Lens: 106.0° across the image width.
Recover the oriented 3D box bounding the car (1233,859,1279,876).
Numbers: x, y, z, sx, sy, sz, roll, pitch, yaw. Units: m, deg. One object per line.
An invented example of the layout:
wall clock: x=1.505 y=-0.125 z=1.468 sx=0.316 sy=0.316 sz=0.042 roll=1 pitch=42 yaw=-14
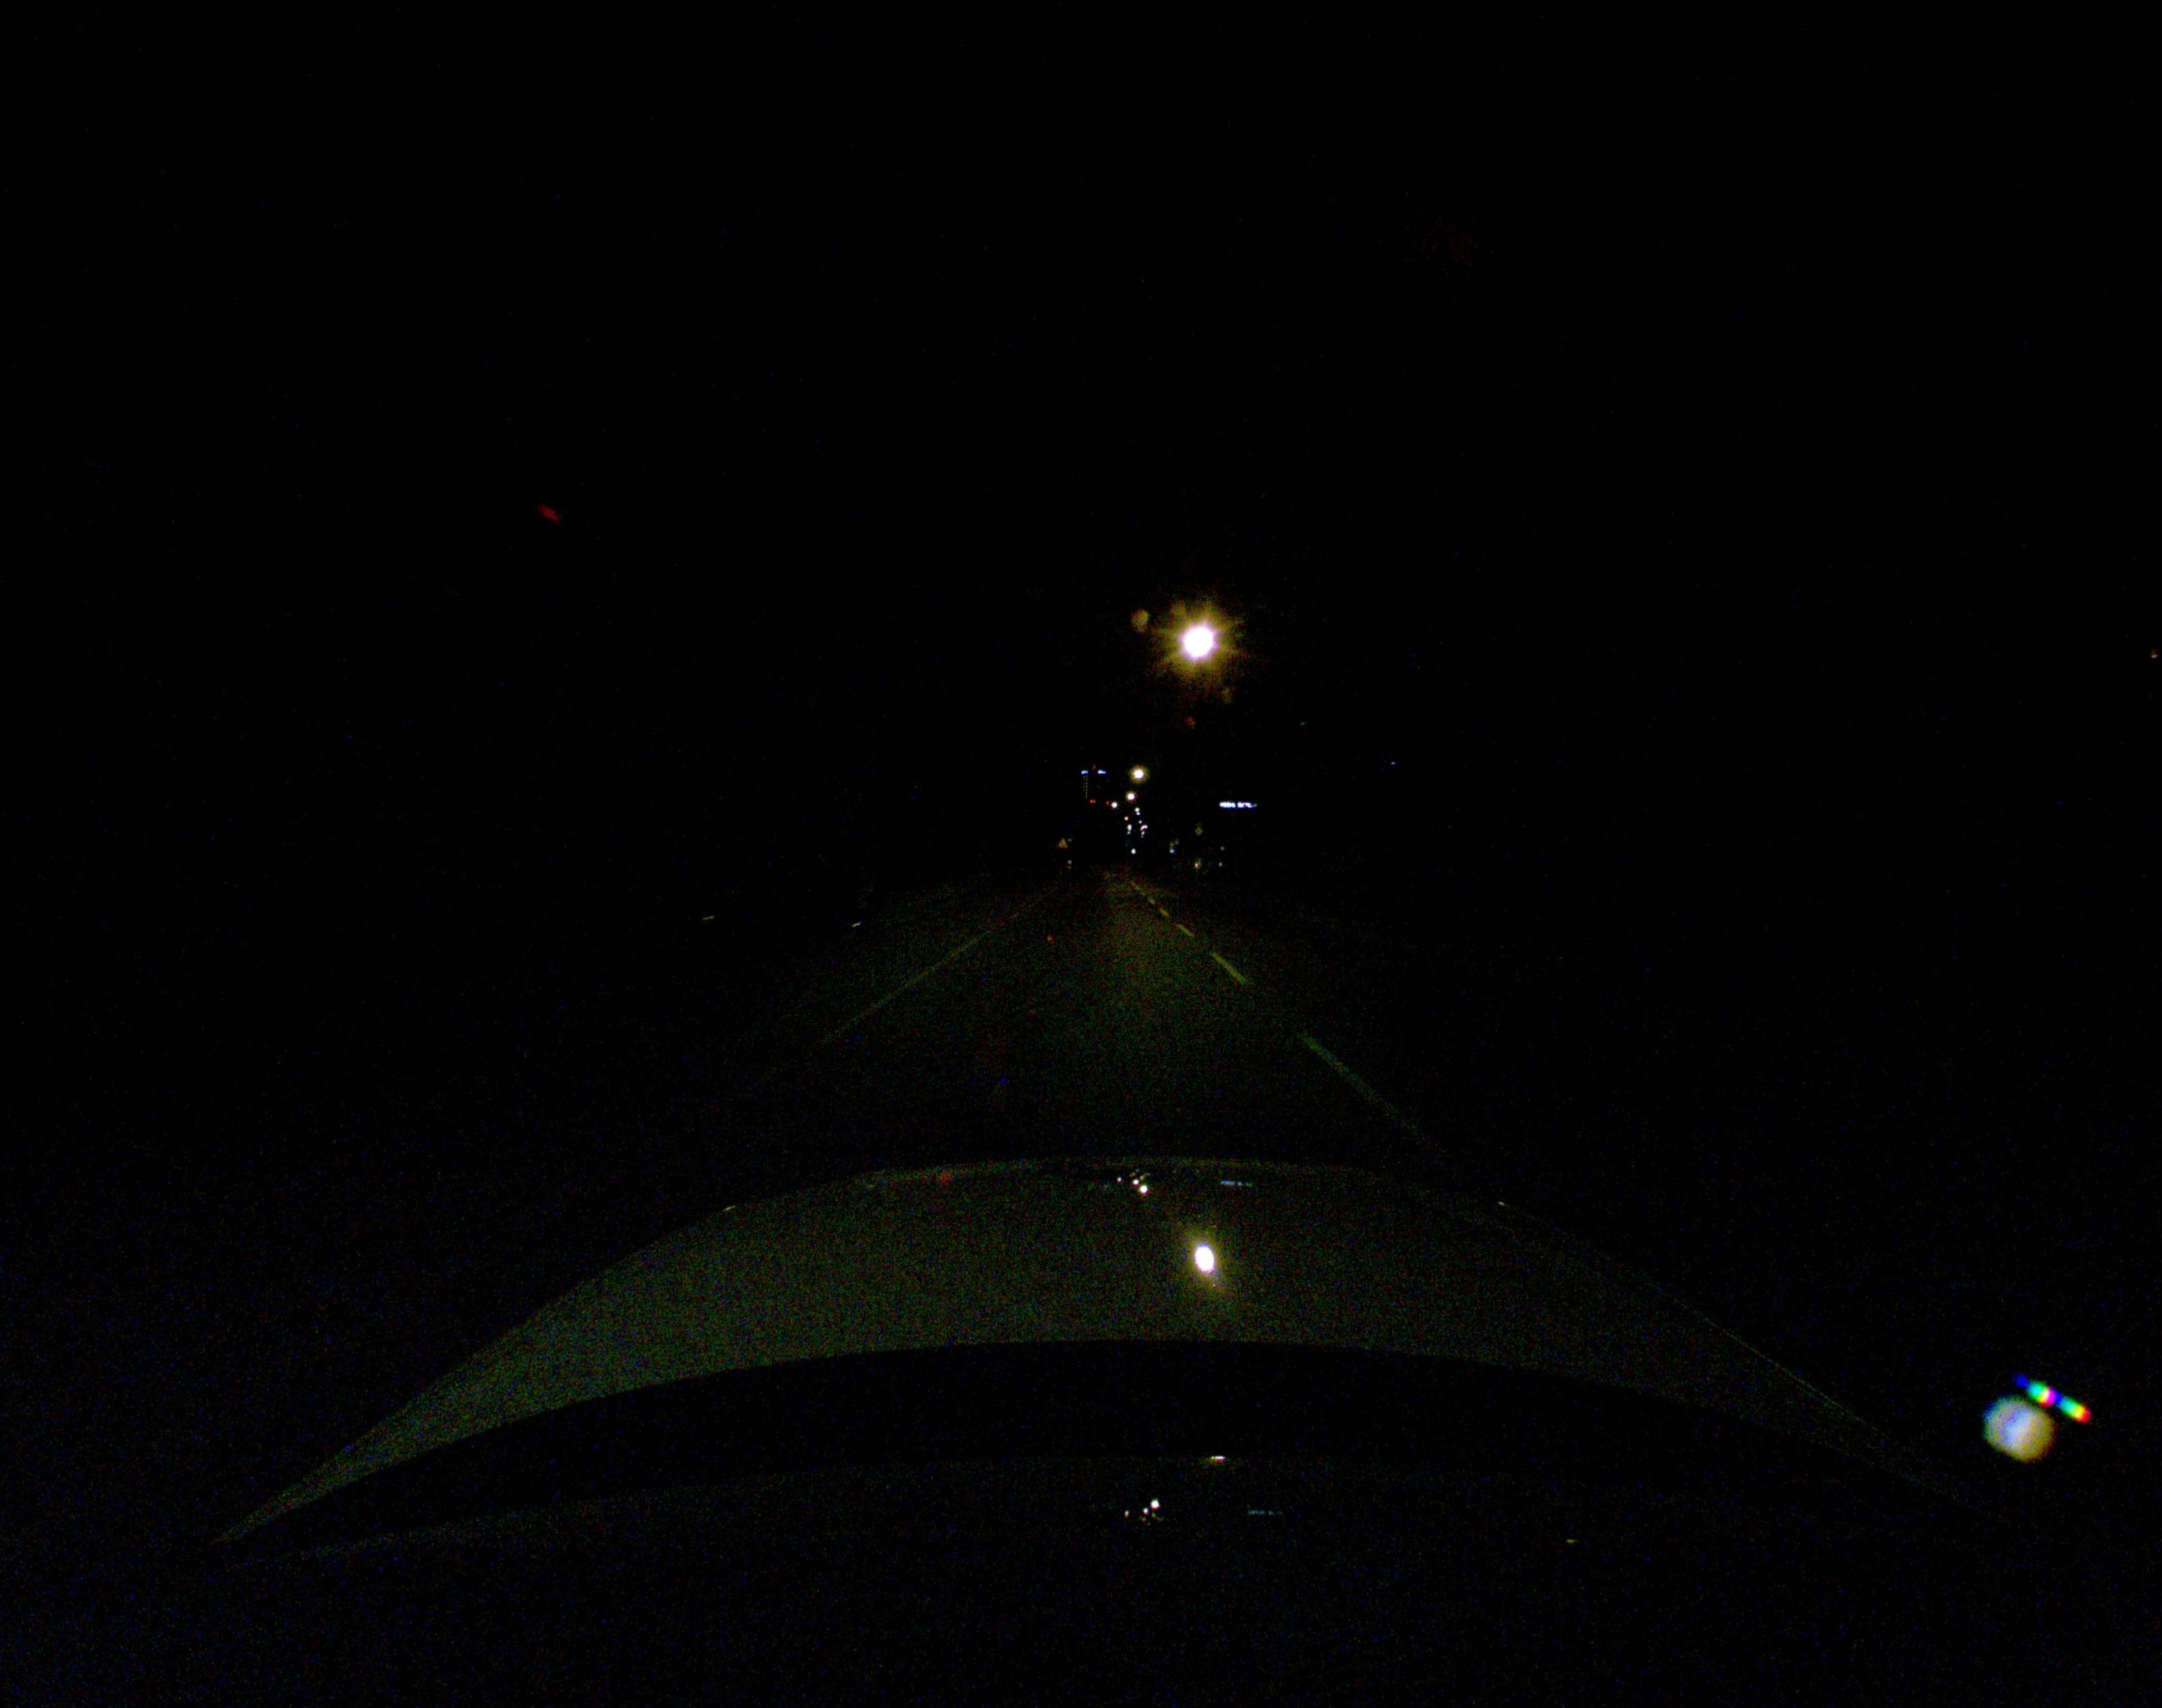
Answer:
car: x=15.853 y=1.209 z=73.925 sx=3.827 sy=1.544 sz=1.808 roll=1 pitch=-1 yaw=-2
